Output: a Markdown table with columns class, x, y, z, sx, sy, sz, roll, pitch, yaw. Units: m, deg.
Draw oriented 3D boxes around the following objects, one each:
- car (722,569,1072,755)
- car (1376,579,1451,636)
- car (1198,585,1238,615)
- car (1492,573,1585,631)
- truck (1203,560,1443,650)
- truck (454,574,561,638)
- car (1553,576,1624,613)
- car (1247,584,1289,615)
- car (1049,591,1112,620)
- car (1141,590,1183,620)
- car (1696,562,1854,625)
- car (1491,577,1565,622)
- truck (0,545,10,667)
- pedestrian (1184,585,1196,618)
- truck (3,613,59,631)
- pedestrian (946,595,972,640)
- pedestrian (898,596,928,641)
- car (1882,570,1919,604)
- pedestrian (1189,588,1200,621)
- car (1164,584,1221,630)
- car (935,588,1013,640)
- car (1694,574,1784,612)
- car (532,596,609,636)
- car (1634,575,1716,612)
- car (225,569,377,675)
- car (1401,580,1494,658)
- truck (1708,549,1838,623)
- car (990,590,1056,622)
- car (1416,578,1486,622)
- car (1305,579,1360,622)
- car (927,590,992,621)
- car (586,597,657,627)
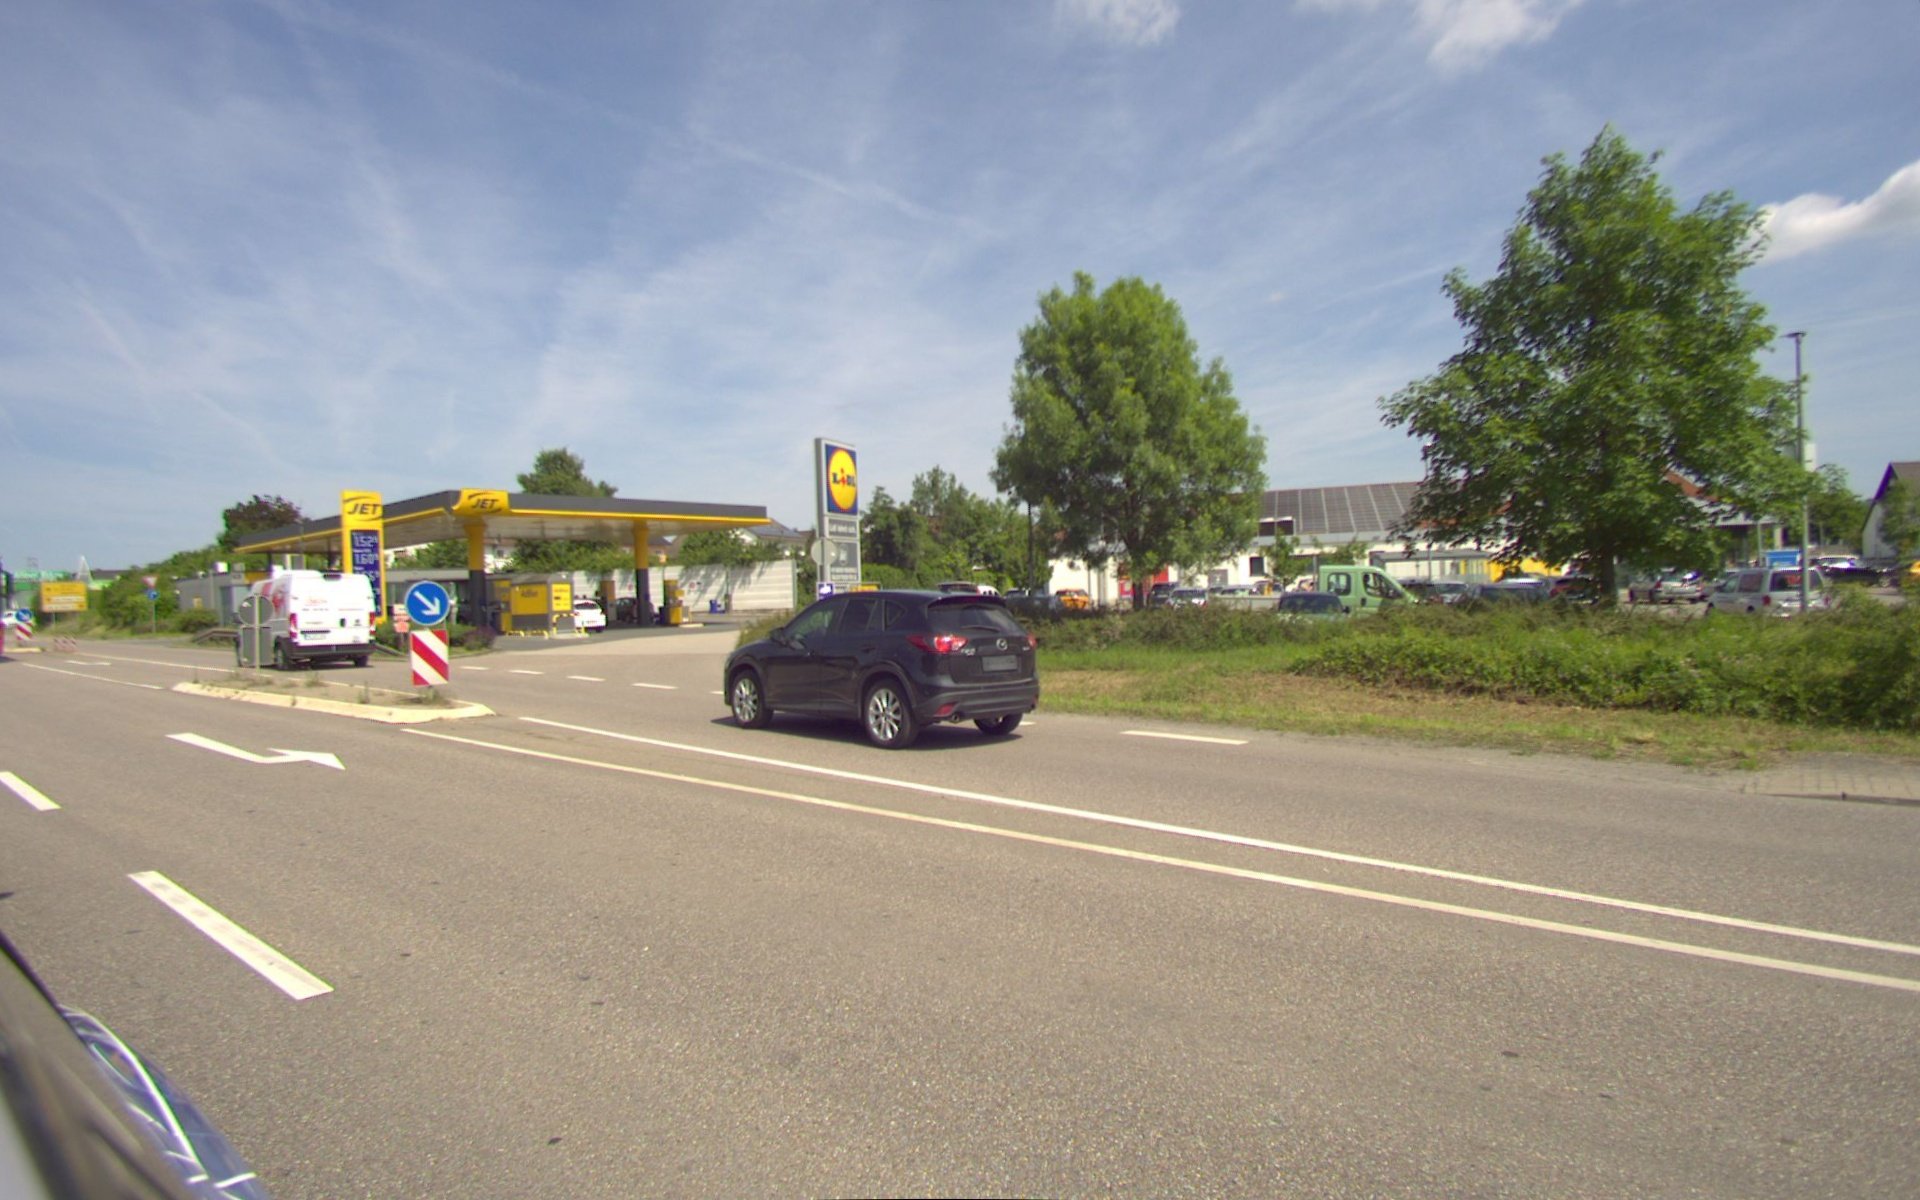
| class | x | y | z | sx | sy | sz | roll | pitch | yaw |
| --- | --- | --- | --- | --- | --- | --- | --- | --- | --- |
| car | -0.882 | 0.622 | 11.749 | 1.844 | 1.763 | 4.114 | 0 | -1 | -43 |
| car | 14.669 | 0.206 | 32.924 | 1.898 | 1.687 | 3.974 | -1 | 1 | 20 |
| car | 13.317 | -0.030 | 52.217 | 1.868 | 1.453 | 3.981 | -1 | 1 | 15 |
| car | 18.214 | 0.051 | 32.042 | 1.912 | 1.701 | 3.973 | 0 | 0 | 20 |
| truck | 10.410 | 0.180 | 29.499 | 6.297 | 2.393 | 2.236 | -1 | 0 | 18 |
| truck | -22.103 | 0.266 | 49.303 | 6.278 | 2.944 | 2.222 | 0 | 0 | 40 |
| car | 28.471 | -0.242 | 45.979 | 1.865 | 1.553 | 4.231 | 0 | 0 | 20 |
| car | 15.555 | -0.057 | 51.249 | 1.868 | 1.453 | 3.981 | -1 | 1 | 15 |
| car | 6.518 | 0.278 | 54.300 | 1.879 | 1.453 | 3.958 | -1 | 1 | 31 |
| car | 10.472 | 0.226 | 52.276 | 1.868 | 1.453 | 3.981 | -1 | 1 | 15 |
| car | 24.222 | -0.164 | 30.313 | 1.981 | 1.708 | 4.408 | -1 | 0 | 14 |
| car | 20.590 | -0.031 | 36.844 | 1.767 | 1.540 | 3.972 | 0 | 0 | 21 |
| truck | -35.777 | 0.281 | 35.314 | 10.041 | 3.950 | 2.641 | -1 | -1 | 40 |
| pedestrian | 11.026 | 0.074 | 48.571 | 0.501 | 1.564 | 0.514 | -1 | 0 | 17 |
| truck | -111.142 | 2.611 | 121.102 | 2.000 | 2.024 | 4.707 | -1 | 1 | 44 |
| pedestrian | -0.031 | 0.613 | 36.254 | 0.801 | 1.587 | 0.701 | -1 | 0 | 13 |
| pedestrian | -1.689 | 0.660 | 36.282 | 0.809 | 1.587 | 0.694 | -2 | -1 | 43 |
| car | 45.127 | -0.607 | 46.074 | 4.223 | 1.553 | 1.869 | 0 | 0 | 18 |
| pedestrian | 11.374 | 0.210 | 49.071 | 0.502 | 1.564 | 0.514 | -1 | 0 | 18 |
| car | 9.342 | 0.234 | 40.468 | 1.850 | 1.688 | 4.399 | -1 | 0 | 17 |
| car | 0.596 | 0.484 | 38.709 | 1.865 | 1.825 | 4.145 | -1 | 0 | 17 |
| car | 33.920 | -0.288 | 44.202 | 1.865 | 1.553 | 4.231 | 0 | 0 | 20 |
| car | -17.761 | 0.782 | 46.064 | 4.001 | 1.741 | 1.713 | -2 | -3 | 44 |
| car | 31.504 | -0.284 | 44.747 | 1.865 | 1.553 | 4.231 | 0 | 0 | 20 |
| car | -18.394 | 0.587 | 28.113 | 5.985 | 2.674 | 2.095 | -1 | 0 | 42 |
| car | 11.425 | 0.399 | 23.931 | 1.683 | 1.670 | 3.971 | 0 | 0 | 22 |
| truck | 27.876 | -0.465 | 34.874 | 1.981 | 2.383 | 3.982 | -1 | 0 | 14 |
| car | 3.427 | 0.303 | 54.490 | 1.765 | 1.551 | 3.956 | -2 | 0 | 33 |
| car | 18.334 | -0.013 | 37.918 | 1.764 | 1.540 | 3.977 | -1 | 0 | 17 |
| car | 14.277 | 0.022 | 38.923 | 1.764 | 1.540 | 3.977 | -1 | 0 | 17 |
| car | 0.006 | 0.287 | 57.150 | 1.765 | 1.551 | 3.956 | -2 | 0 | 33 |
| car | -19.319 | 0.681 | 57.754 | 3.862 | 1.625 | 1.735 | -2 | -1 | 31 |
